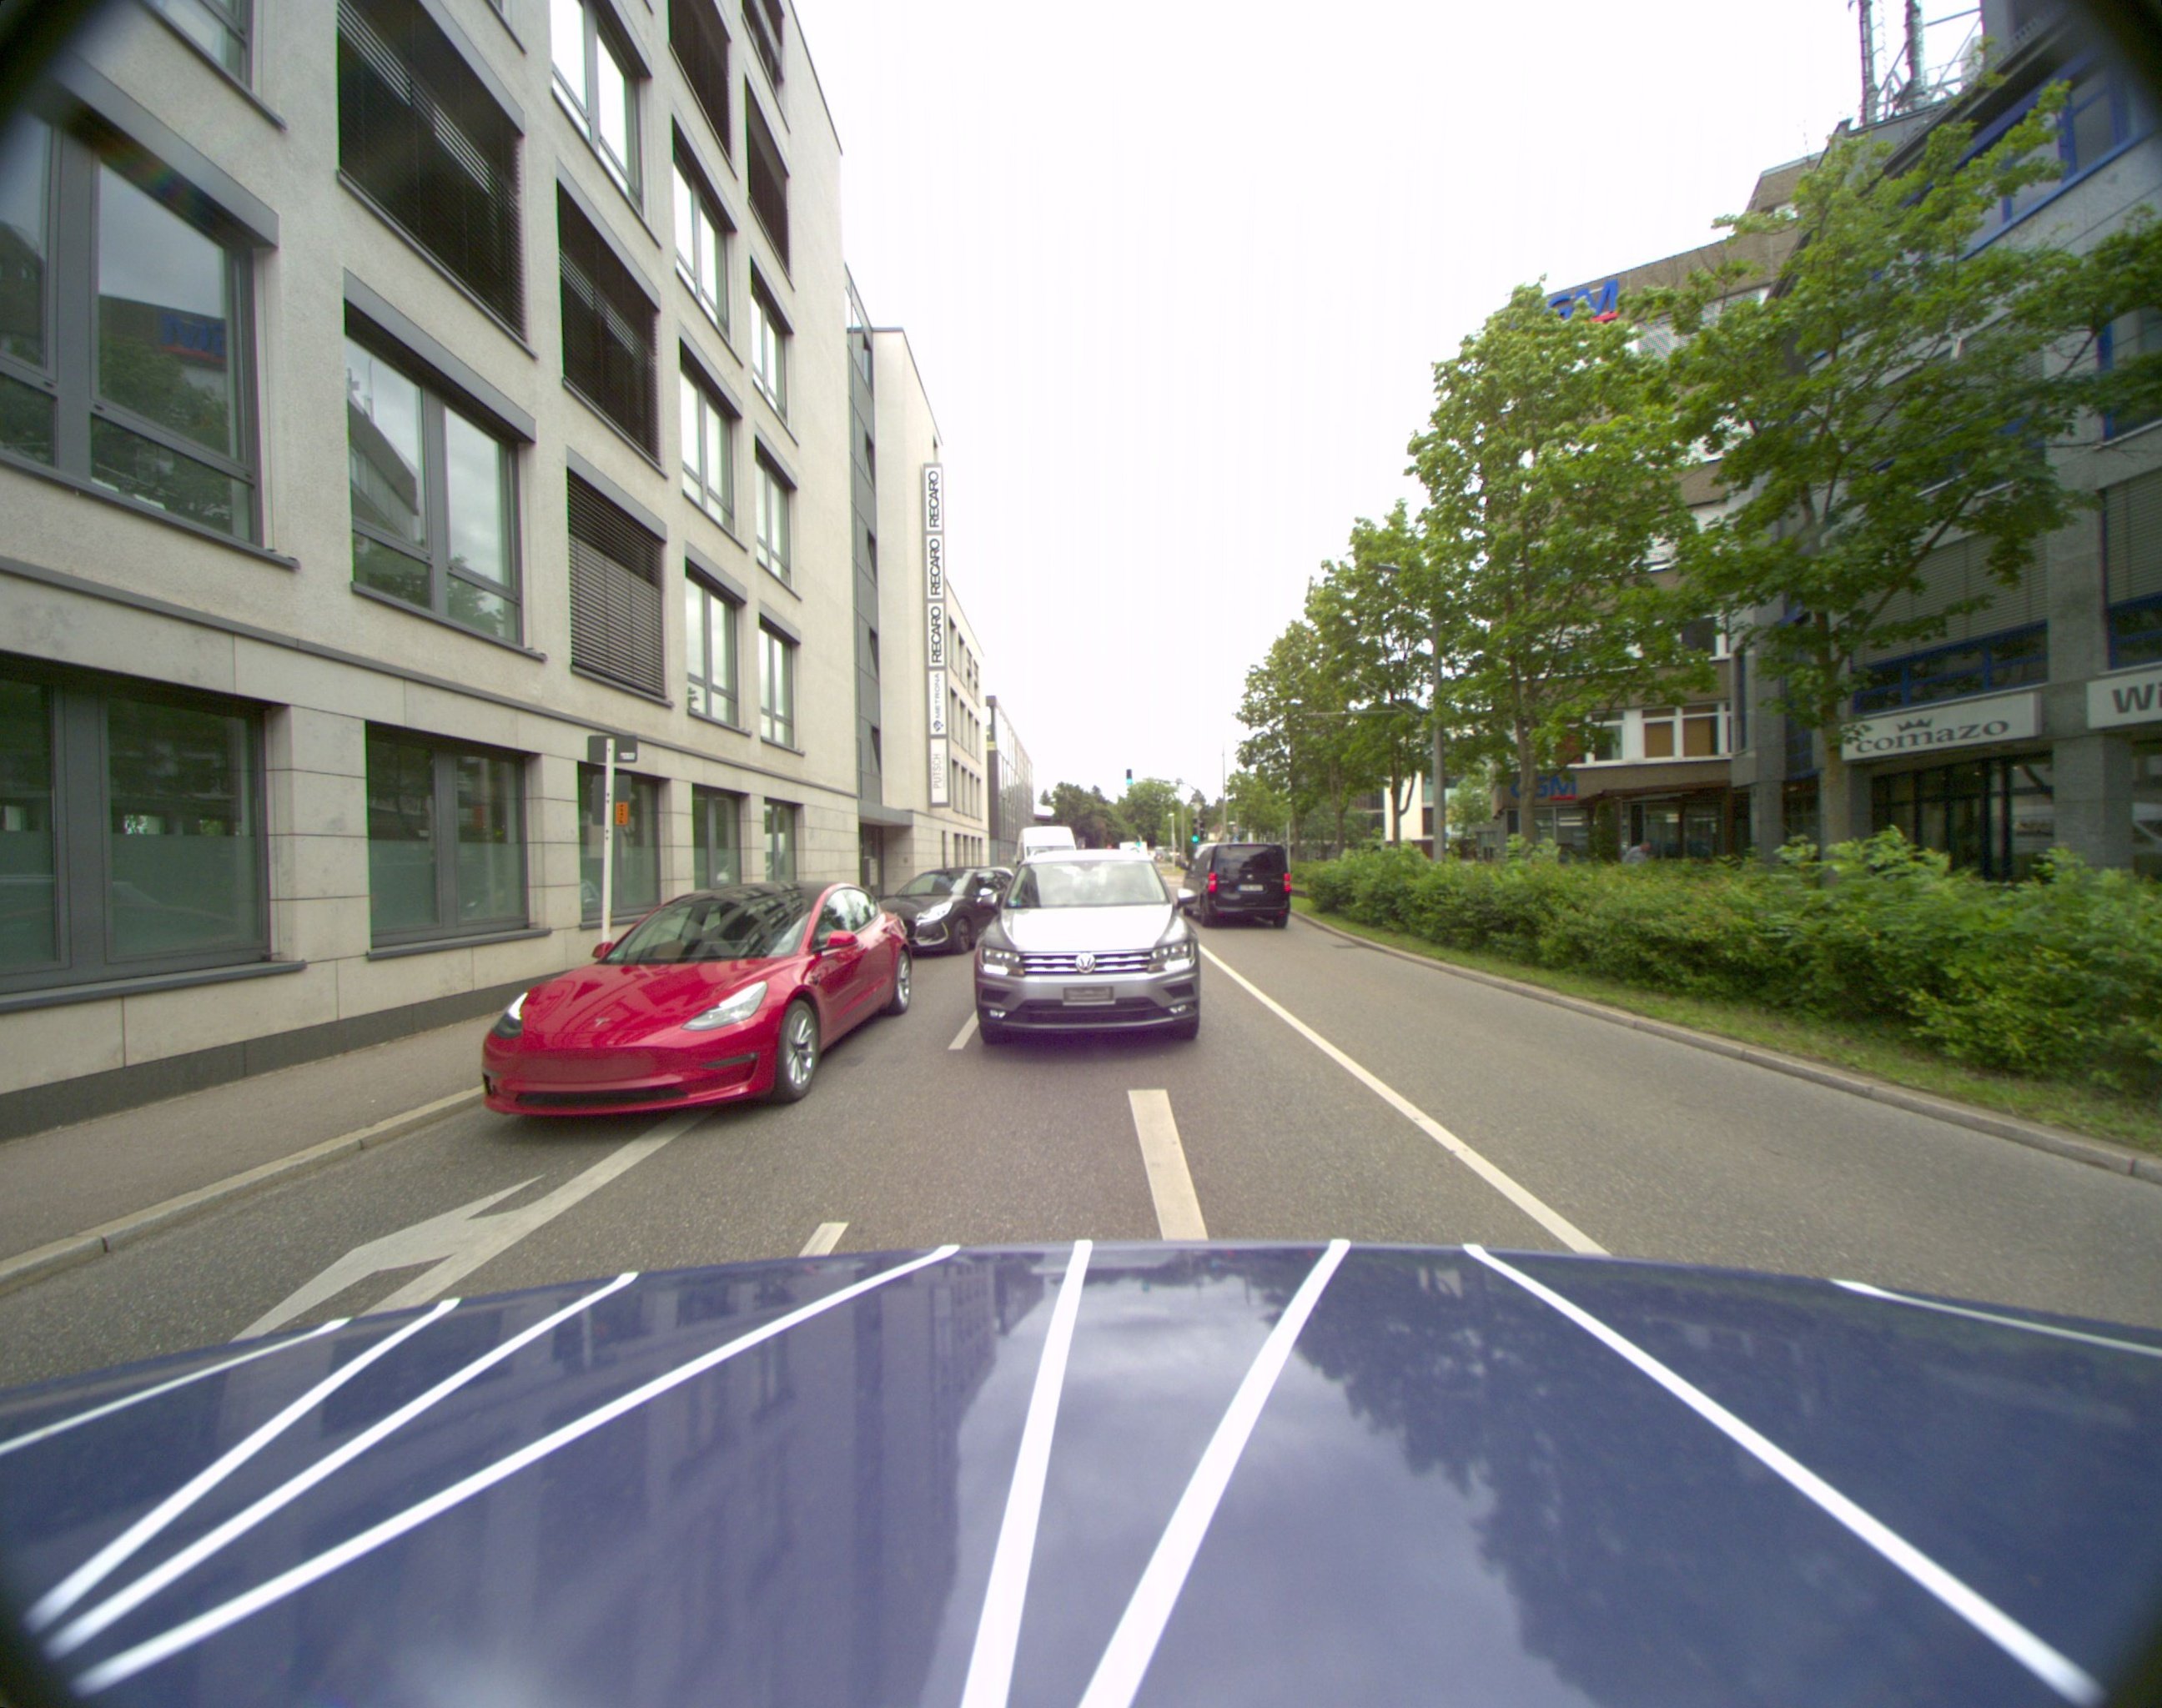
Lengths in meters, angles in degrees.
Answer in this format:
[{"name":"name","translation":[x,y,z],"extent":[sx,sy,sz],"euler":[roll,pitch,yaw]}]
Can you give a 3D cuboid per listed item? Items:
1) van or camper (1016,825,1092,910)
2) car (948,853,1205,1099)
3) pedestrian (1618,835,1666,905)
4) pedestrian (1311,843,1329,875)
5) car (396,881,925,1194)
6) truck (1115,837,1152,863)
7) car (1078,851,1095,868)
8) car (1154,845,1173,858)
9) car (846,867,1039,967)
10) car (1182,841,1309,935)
[{"name":"van or camper","translation":[-1.150,0.420,28.032],"extent":[2.114,2.718,6.147],"euler":[-2,1,-8]},{"name":"car","translation":[0.003,0.873,7.651],"extent":[1.798,1.716,4.458],"euler":[-1,0,1]},{"name":"pedestrian","translation":[14.707,0.403,19.936],"extent":[0.680,1.795,0.731],"euler":[-2,1,-4]},{"name":"pedestrian","translation":[14.842,0.298,47.214],"extent":[0.816,1.912,0.731],"euler":[-2,1,0]},{"name":"car","translation":[-2.727,1.073,6.310],"extent":[1.825,1.449,4.408],"euler":[-3,0,1]},{"name":"truck","translation":[8.170,-0.671,117.366],"extent":[2.317,3.626,8.024],"euler":[-1,1,31]},{"name":"car","translation":[0.756,0.626,96.796],"extent":[1.998,2.002,4.000],"euler":[-2,1,1]},{"name":"car","translation":[13.966,-0.427,128.457],"extent":[1.995,2.002,4.006],"euler":[-1,1,24]},{"name":"car","translation":[-2.356,1.058,13.917],"extent":[1.742,1.449,3.739],"euler":[-3,0,20]},{"name":"car","translation":[3.674,0.661,17.909],"extent":[1.998,1.936,4.736],"euler":[0,1,1]}]
